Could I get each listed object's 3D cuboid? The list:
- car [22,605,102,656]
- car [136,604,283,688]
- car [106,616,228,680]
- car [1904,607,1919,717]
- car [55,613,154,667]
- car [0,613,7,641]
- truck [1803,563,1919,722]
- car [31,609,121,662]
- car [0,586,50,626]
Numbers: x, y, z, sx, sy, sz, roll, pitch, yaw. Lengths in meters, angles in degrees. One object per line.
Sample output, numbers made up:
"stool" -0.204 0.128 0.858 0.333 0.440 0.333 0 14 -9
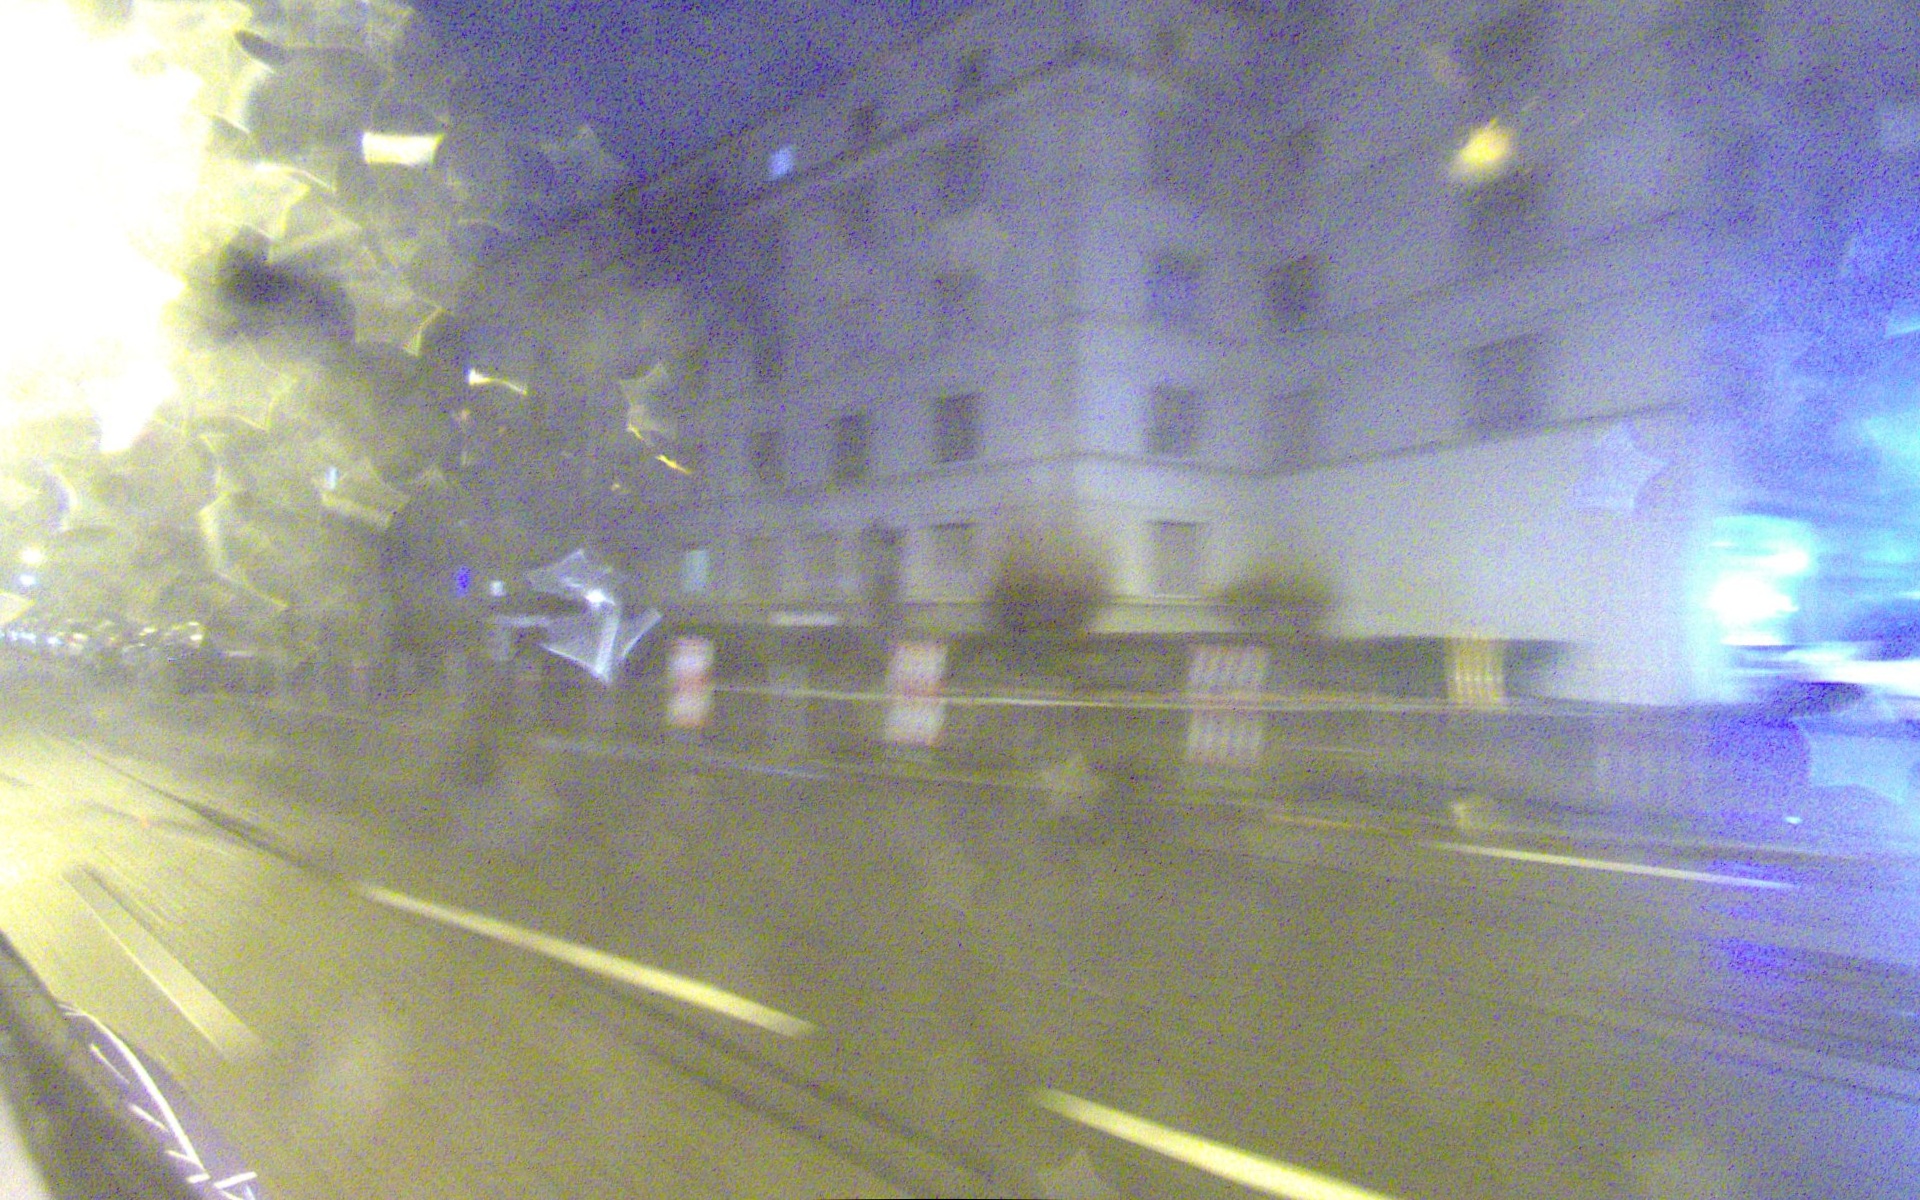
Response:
"car" -31.670 1.053 35.646 4.258 1.617 1.581 0 -4 43
"car" -15.783 0.930 21.202 4.379 1.576 1.581 0 -4 43
"car" -19.444 1.144 24.755 4.353 1.384 1.581 0 -4 43
"car" 16.010 0.919 13.604 1.838 1.625 4.508 1 -1 -30
"car" -23.769 1.080 28.068 4.067 1.384 1.581 -1 -2 43
"car" -56.133 1.469 57.981 4.388 1.551 1.648 0 -4 41
"truck" 13.839 0.533 12.157 2.093 2.029 5.278 1 -1 -30
"car" -27.938 1.108 31.944 4.274 1.498 1.581 0 -4 43
"car" -42.277 0.270 45.547 3.372 1.632 1.459 0 -4 41
